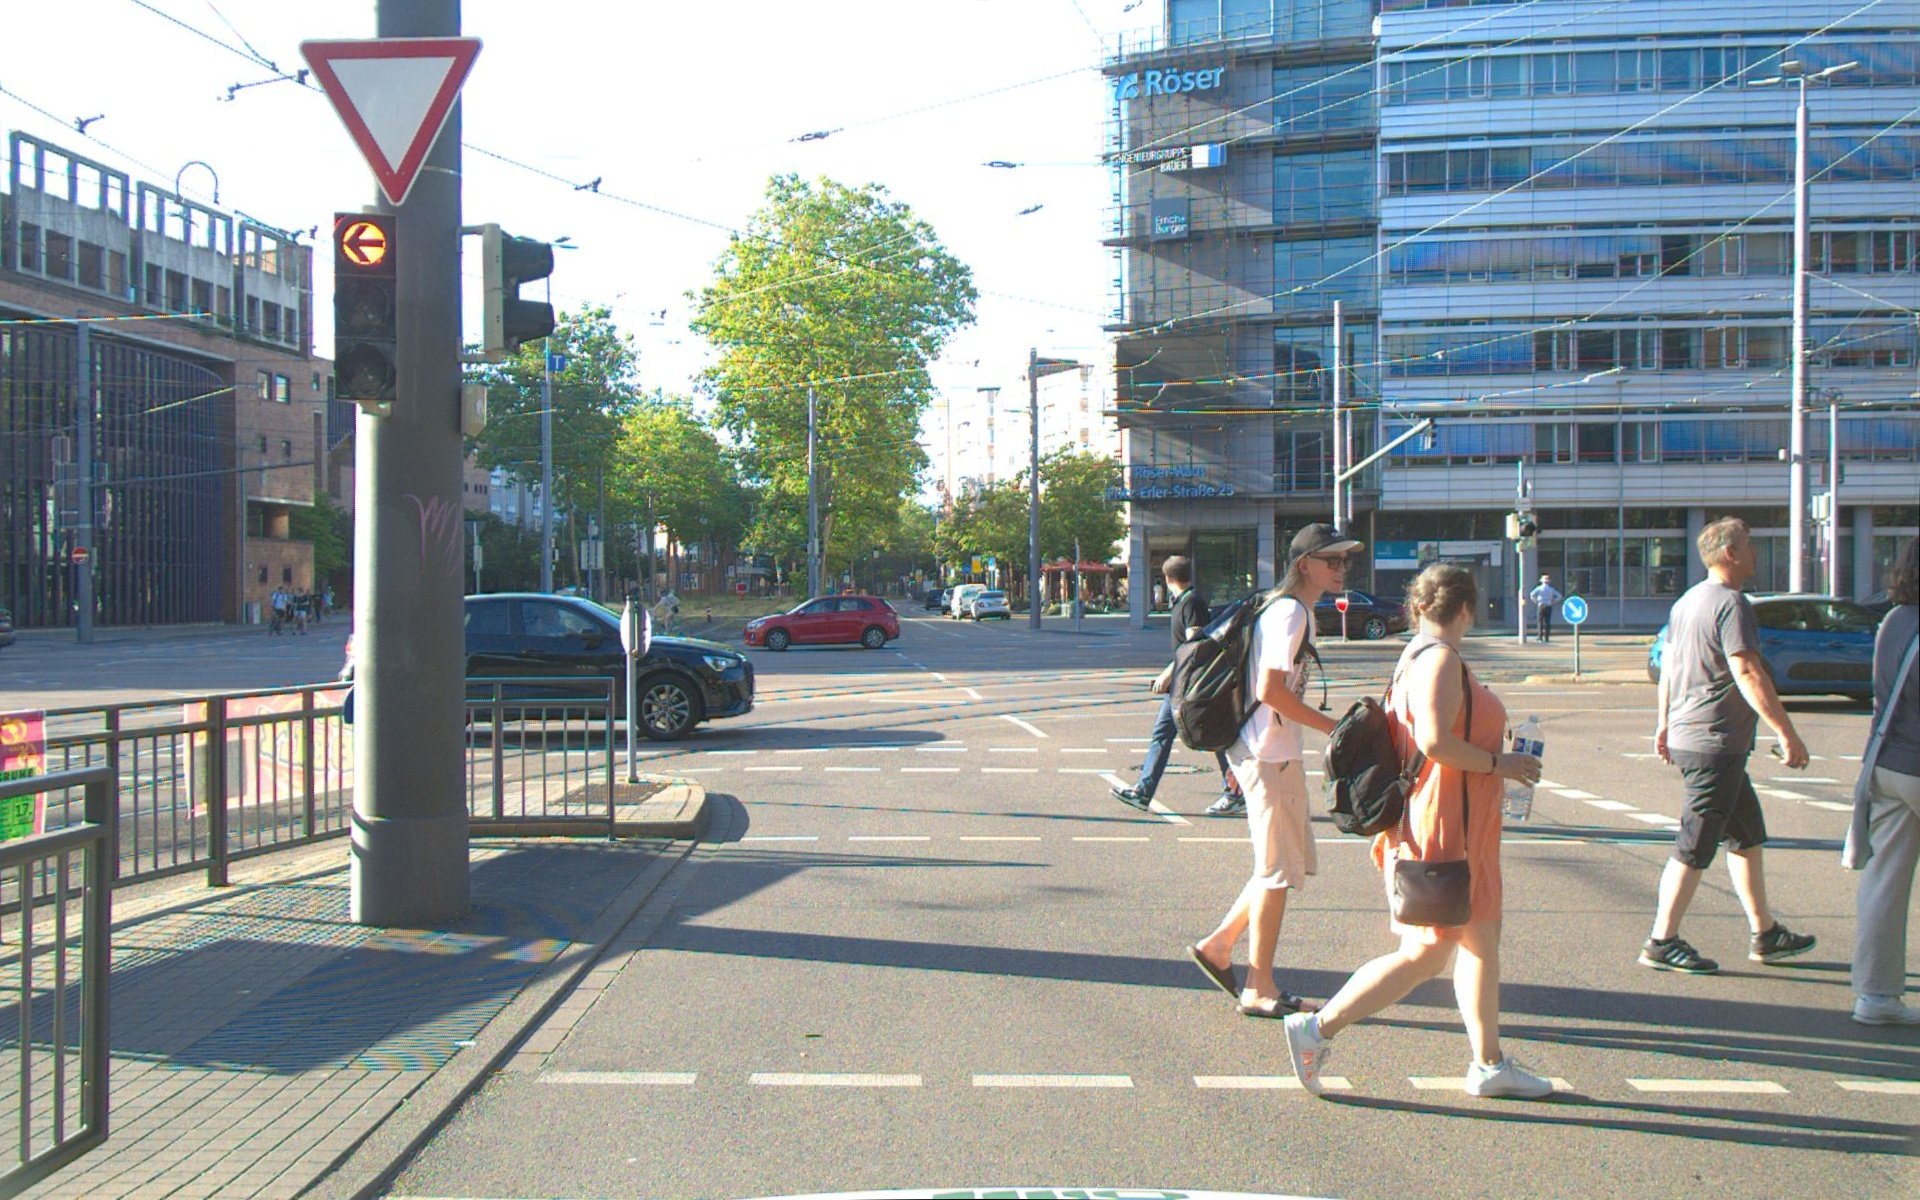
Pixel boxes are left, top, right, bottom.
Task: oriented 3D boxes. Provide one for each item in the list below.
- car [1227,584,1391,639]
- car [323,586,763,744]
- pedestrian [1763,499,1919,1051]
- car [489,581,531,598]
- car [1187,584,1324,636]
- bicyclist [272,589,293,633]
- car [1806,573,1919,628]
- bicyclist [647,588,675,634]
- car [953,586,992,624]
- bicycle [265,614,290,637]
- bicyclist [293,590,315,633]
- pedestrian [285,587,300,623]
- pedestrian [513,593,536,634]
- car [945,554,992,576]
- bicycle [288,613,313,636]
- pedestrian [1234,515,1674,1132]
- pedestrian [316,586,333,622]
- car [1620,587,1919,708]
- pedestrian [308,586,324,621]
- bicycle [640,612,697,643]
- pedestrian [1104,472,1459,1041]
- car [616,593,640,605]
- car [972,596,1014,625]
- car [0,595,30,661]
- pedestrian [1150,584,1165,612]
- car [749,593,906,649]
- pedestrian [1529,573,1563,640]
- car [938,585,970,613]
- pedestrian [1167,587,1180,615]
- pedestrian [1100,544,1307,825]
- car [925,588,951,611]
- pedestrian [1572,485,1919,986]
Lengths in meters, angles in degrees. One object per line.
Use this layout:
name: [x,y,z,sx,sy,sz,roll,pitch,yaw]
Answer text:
car: [9.850,0.321,46.808,4.164,1.459,1.791,-1,0,-11]
car: [-4.431,0.665,18.138,4.393,1.611,1.824,0,0,-4]
pedestrian: [3.620,0.593,5.958,1.051,1.837,0.756,1,-1,-8]
car: [-46.669,-1.086,171.534,3.948,1.579,1.589,1,0,-32]
car: [9.115,0.290,51.160,3.787,1.533,1.792,-1,0,-8]
bicyclist: [-26.769,0.428,65.362,0.582,1.705,0.788,-1,0,-7]
car: [25.326,-0.005,44.557,4.151,1.417,1.796,-1,0,4]
bicyclist: [-9.229,0.334,51.037,0.805,1.390,0.399,-1,0,-14]
car: [0.656,0.261,89.854,1.953,2.026,3.999,-1,0,-1]
bicycle: [-26.918,0.997,65.251,0.503,0.897,1.835,-1,0,-8]
bicyclist: [-26.026,0.443,65.628,0.582,1.705,0.788,-1,0,-7]
pedestrian: [-34.518,0.276,85.557,0.479,1.842,0.546,-1,0,6]
pedestrian: [-16.499,0.515,62.670,0.740,1.557,0.507,1,0,-8]
car: [0.695,-2.963,141.450,3.681,1.780,1.783,1,0,14]
bicycle: [-26.124,0.965,65.568,0.503,0.897,1.835,-1,0,-8]
pedestrian: [1.466,0.630,5.038,1.052,1.711,0.756,1,-1,-8]
pedestrian: [-33.297,0.202,86.644,0.627,1.842,0.546,-1,0,6]
car: [11.187,0.595,22.143,3.876,1.482,1.998,-1,0,-4]
pedestrian: [-33.183,0.170,85.227,0.511,1.810,0.546,-1,0,6]
bicycle: [-9.005,0.846,51.095,1.712,0.915,0.407,-1,0,-14]
pedestrian: [1.132,0.533,5.978,1.053,1.904,0.737,1,-1,-8]
car: [-43.534,-0.100,216.995,1.951,1.534,4.003,-1,0,7]
car: [1.648,0.516,83.030,1.953,1.355,3.999,-1,0,-1]
car: [-25.788,0.712,41.230,4.165,1.630,1.790,-1,0,-12]
pedestrian: [10.605,-0.092,88.754,0.723,1.491,0.537,-1,0,8]
car: [-3.643,0.549,45.088,4.162,1.417,1.792,-1,0,-9]
pedestrian: [15.224,0.162,42.954,0.704,1.711,0.557,1,0,6]
car: [-0.401,-0.073,105.154,1.953,1.691,3.999,-1,0,-1]
pedestrian: [11.431,0.072,88.522,0.691,1.491,0.384,-1,0,8]
pedestrian: [1.674,0.567,11.545,1.185,1.854,1.040,1,0,-6]
car: [-1.662,-0.056,126.851,1.953,1.691,3.999,-1,0,-1]
pedestrian: [3.282,0.532,6.852,1.123,1.927,0.831,1,-1,-8]
